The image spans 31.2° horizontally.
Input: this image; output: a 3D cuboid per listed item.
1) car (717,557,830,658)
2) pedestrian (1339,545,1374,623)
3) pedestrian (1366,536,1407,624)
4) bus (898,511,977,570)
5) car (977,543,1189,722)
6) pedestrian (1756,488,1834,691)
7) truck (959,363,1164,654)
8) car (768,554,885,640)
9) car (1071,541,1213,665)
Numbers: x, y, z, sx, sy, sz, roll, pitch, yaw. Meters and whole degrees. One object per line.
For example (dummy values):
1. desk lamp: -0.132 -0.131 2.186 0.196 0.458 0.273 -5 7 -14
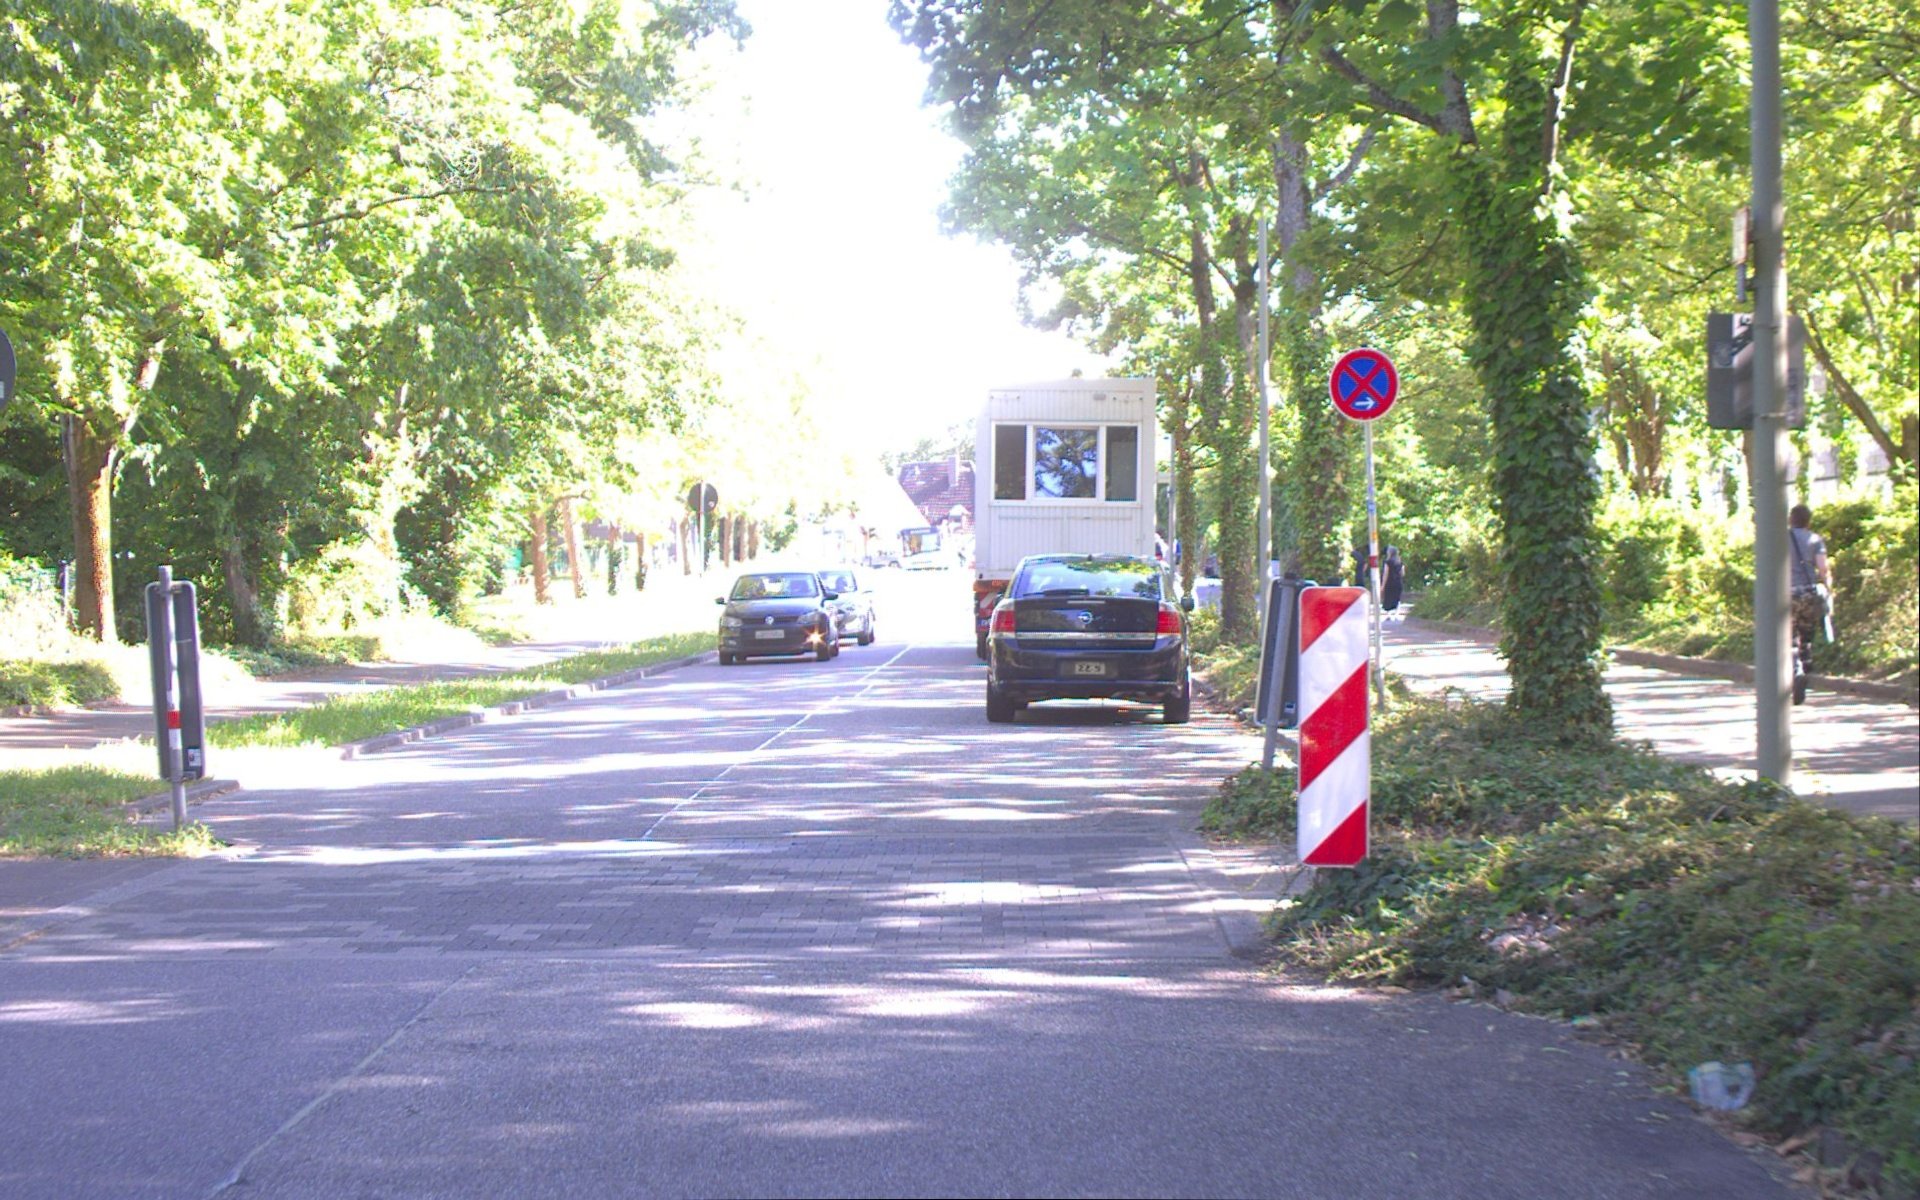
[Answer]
1. car: -2.828 0.095 52.657 1.600 1.421 3.652 -2 1 -2
2. pedestrian: 8.258 -0.330 71.614 0.598 1.605 0.600 -2 1 -2
3. pedestrian: 8.850 -0.422 71.409 0.698 1.806 0.700 -2 1 -2
4. bus: -1.312 -3.608 207.758 4.065 3.337 9.799 -2 1 3
5. car: 1.121 0.260 30.494 1.748 1.475 4.030 0 0 3
6. pedestrian: 6.689 -0.088 27.559 0.571 1.602 0.671 0 1 11
7. truck: 1.448 -1.347 52.638 2.773 3.982 10.348 1 1 1
8. car: -2.421 -0.084 63.288 1.755 1.449 4.243 -2 1 3
9. car: 2.276 0.001 42.896 1.640 1.415 4.000 -2 1 3
